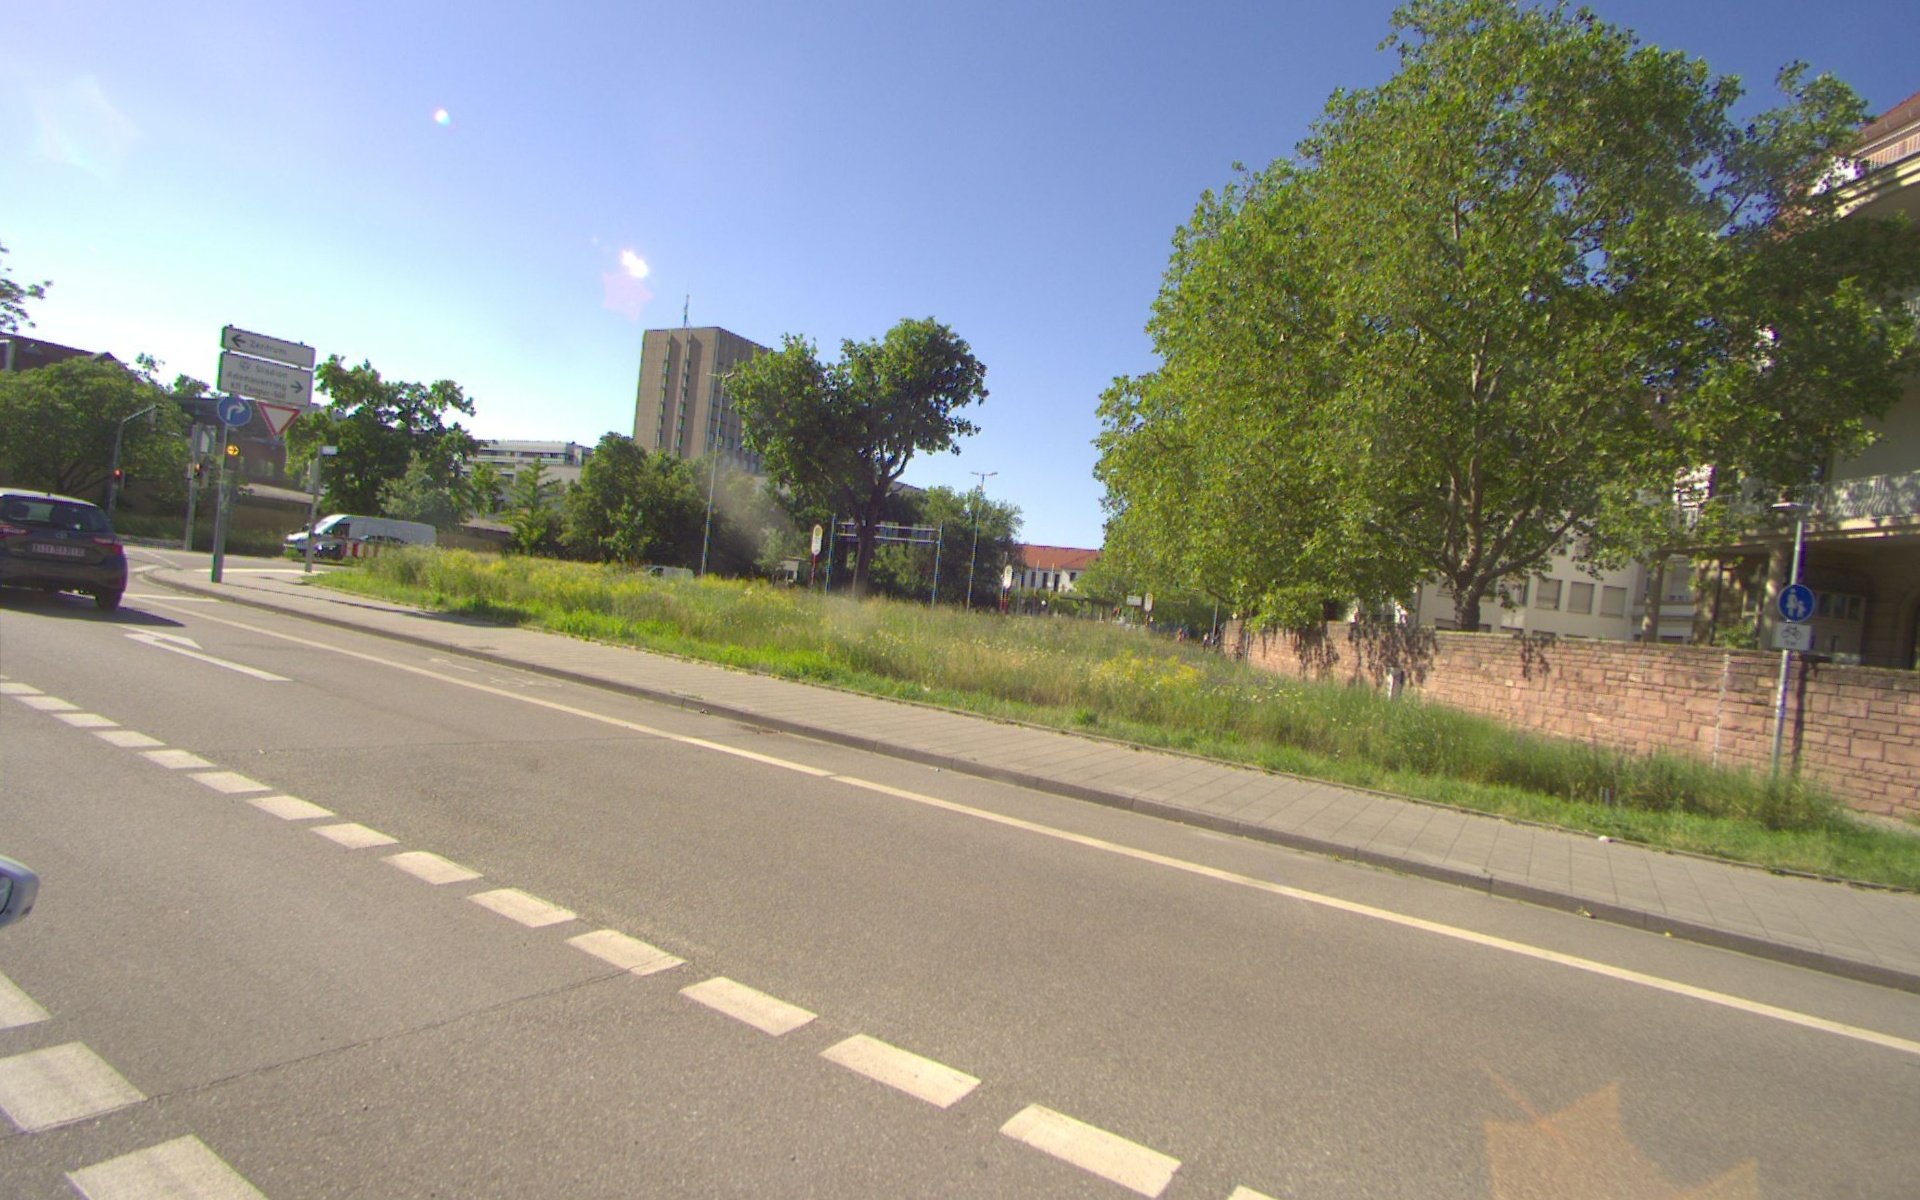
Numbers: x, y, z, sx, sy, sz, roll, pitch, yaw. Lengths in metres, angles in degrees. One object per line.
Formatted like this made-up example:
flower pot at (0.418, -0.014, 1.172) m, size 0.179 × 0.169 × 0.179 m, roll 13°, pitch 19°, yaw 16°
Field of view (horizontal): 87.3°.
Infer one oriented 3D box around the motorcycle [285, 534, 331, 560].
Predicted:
motorcycle at (-35.892, -2.921, 55.394) m, size 2.037 × 1.149 × 0.663 m, roll 7°, pitch -1°, yaw -37°

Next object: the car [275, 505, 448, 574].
car at (-30.117, -2.998, 50.943) m, size 2.042 × 2.453 × 7.154 m, roll 7°, pitch 0°, yaw 36°

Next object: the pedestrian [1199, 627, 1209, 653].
pedestrian at (16.540, 2.714, 68.165) m, size 0.490 × 1.722 × 0.500 m, roll 5°, pitch 0°, yaw 9°

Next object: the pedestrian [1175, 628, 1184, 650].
pedestrian at (17.330, 3.061, 79.405) m, size 0.490 × 1.722 × 0.611 m, roll 5°, pitch 0°, yaw 14°

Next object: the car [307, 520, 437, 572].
car at (-28.079, -2.535, 48.181) m, size 2.042 × 1.768 × 4.852 m, roll 7°, pitch 0°, yaw 36°

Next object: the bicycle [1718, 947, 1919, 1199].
bicycle at (2.301, 1.310, 1.446) m, size 1.852 × 0.971 × 0.724 m, roll 7°, pitch -1°, yaw 31°

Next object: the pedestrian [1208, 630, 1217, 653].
pedestrian at (19.825, 3.275, 78.960) m, size 0.490 × 1.722 × 0.500 m, roll 5°, pitch 0°, yaw 14°

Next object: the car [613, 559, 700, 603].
car at (-19.829, -1.232, 65.913) m, size 2.042 × 2.252 × 5.090 m, roll 7°, pitch 0°, yaw 36°

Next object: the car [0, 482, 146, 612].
car at (-13.531, -0.823, 14.427) m, size 3.599 × 1.560 × 1.758 m, roll 6°, pitch -1°, yaw 33°
